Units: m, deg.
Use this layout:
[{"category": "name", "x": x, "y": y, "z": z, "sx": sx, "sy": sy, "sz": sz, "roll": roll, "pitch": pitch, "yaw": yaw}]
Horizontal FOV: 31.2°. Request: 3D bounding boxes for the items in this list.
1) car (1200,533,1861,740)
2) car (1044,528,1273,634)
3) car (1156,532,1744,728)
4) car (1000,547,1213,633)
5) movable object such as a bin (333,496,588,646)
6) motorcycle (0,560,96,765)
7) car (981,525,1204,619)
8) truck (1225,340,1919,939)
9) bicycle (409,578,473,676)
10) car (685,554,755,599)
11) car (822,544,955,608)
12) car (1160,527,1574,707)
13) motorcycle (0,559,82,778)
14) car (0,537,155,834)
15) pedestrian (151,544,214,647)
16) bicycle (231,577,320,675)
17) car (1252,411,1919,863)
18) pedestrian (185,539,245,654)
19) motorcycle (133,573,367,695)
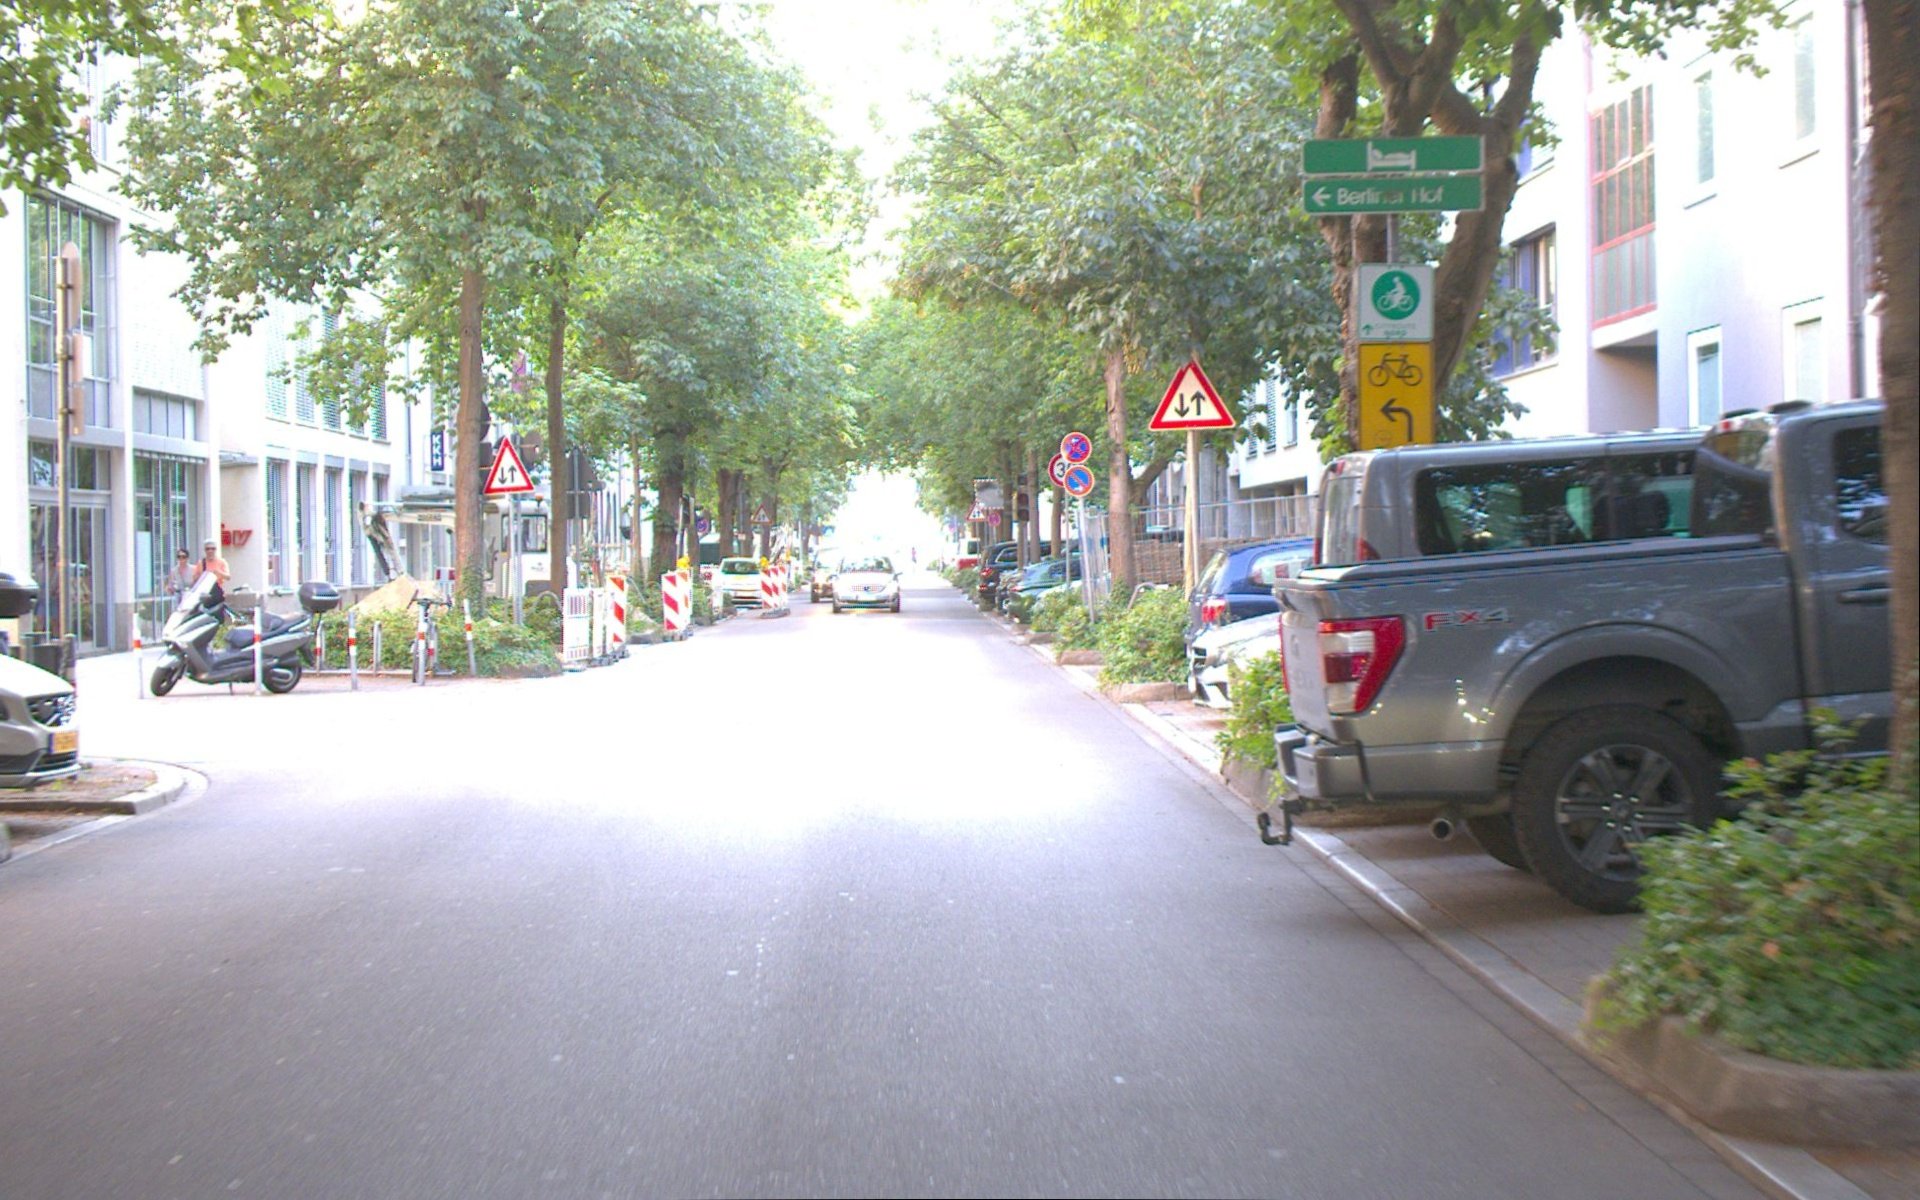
[{"category": "car", "x": 4.300, "y": 0.256, "z": 26.507, "sx": 4.782, "sy": 1.515, "sz": 1.991, "roll": 0, "pitch": 1, "yaw": 1}, {"category": "car", "x": 3.532, "y": -0.344, "z": 61.310, "sx": 3.987, "sy": 1.798, "sz": 2.000, "roll": -1, "pitch": 1, "yaw": 3}, {"category": "car", "x": 4.036, "y": 0.226, "z": 28.899, "sx": 4.621, "sy": 1.566, "sz": 2.011, "roll": 0, "pitch": 1, "yaw": -1}, {"category": "car", "x": 2.780, "y": -0.202, "z": 65.884, "sx": 3.987, "sy": 1.579, "sz": 2.000, "roll": -1, "pitch": 1, "yaw": 1}, {"category": "movable object such as a bin", "x": -8.236, "y": -0.503, "z": 57.050, "sx": 4.045, "sy": 2.375, "sz": 2.785, "roll": -1, "pitch": 1, "yaw": -6}, {"category": "motorcycle", "x": -7.393, "y": 0.436, "z": 24.872, "sx": 2.250, "sy": 1.415, "sz": 0.851, "roll": 0, "pitch": 1, "yaw": 30}, {"category": "car", "x": 2.857, "y": -0.620, "z": 74.898, "sx": 4.738, "sy": 2.007, "sz": 2.000, "roll": 0, "pitch": 1, "yaw": -1}, {"category": "truck", "x": 4.158, "y": 0.119, "z": 14.478, "sx": 5.887, "sy": 2.303, "sz": 2.212, "roll": -1, "pitch": 1, "yaw": 0}, {"category": "bicycle", "x": -6.411, "y": 0.319, "z": 42.540, "sx": 0.683, "sy": 1.148, "sz": 1.981, "roll": -1, "pitch": 1, "yaw": -6}, {"category": "car", "x": -7.121, "y": -0.715, "z": 101.831, "sx": 1.993, "sy": 1.284, "sz": 4.001, "roll": -1, "pitch": 1, "yaw": -5}, {"category": "car", "x": -1.880, "y": -0.644, "z": 91.594, "sx": 2.012, "sy": 1.607, "sz": 4.115, "roll": 0, "pitch": 1, "yaw": 23}, {"category": "car", "x": 3.684, "y": 0.138, "z": 31.556, "sx": 3.538, "sy": 1.558, "sz": 1.832, "roll": -1, "pitch": 1, "yaw": -1}, {"category": "motorcycle", "x": -7.181, "y": 0.452, "z": 22.799, "sx": 2.453, "sy": 1.415, "sz": 0.911, "roll": -1, "pitch": 1, "yaw": 1}, {"category": "car", "x": -7.026, "y": 0.440, "z": 19.017, "sx": 4.619, "sy": 1.547, "sz": 2.075, "roll": 0, "pitch": 1, "yaw": 2}, {"category": "pedestrian", "x": -11.628, "y": -0.073, "z": 51.421, "sx": 0.769, "sy": 1.530, "sz": 0.643, "roll": -1, "pitch": 1, "yaw": -1}, {"category": "bicycle", "x": -8.446, "y": 0.307, "z": 42.503, "sx": 0.683, "sy": 1.148, "sz": 1.981, "roll": -1, "pitch": 1, "yaw": 0}, {"category": "car", "x": 3.903, "y": 0.132, "z": 17.220, "sx": 4.600, "sy": 2.059, "sz": 2.198, "roll": -1, "pitch": 1, "yaw": -2}, {"category": "pedestrian", "x": -11.077, "y": -0.058, "z": 51.133, "sx": 0.739, "sy": 1.684, "sz": 0.607, "roll": -1, "pitch": 1, "yaw": 1}, {"category": "motorcycle", "x": -8.014, "y": 0.364, "z": 38.875, "sx": 2.350, "sy": 1.277, "sz": 1.067, "roll": -2, "pitch": 2, "yaw": -41}]
